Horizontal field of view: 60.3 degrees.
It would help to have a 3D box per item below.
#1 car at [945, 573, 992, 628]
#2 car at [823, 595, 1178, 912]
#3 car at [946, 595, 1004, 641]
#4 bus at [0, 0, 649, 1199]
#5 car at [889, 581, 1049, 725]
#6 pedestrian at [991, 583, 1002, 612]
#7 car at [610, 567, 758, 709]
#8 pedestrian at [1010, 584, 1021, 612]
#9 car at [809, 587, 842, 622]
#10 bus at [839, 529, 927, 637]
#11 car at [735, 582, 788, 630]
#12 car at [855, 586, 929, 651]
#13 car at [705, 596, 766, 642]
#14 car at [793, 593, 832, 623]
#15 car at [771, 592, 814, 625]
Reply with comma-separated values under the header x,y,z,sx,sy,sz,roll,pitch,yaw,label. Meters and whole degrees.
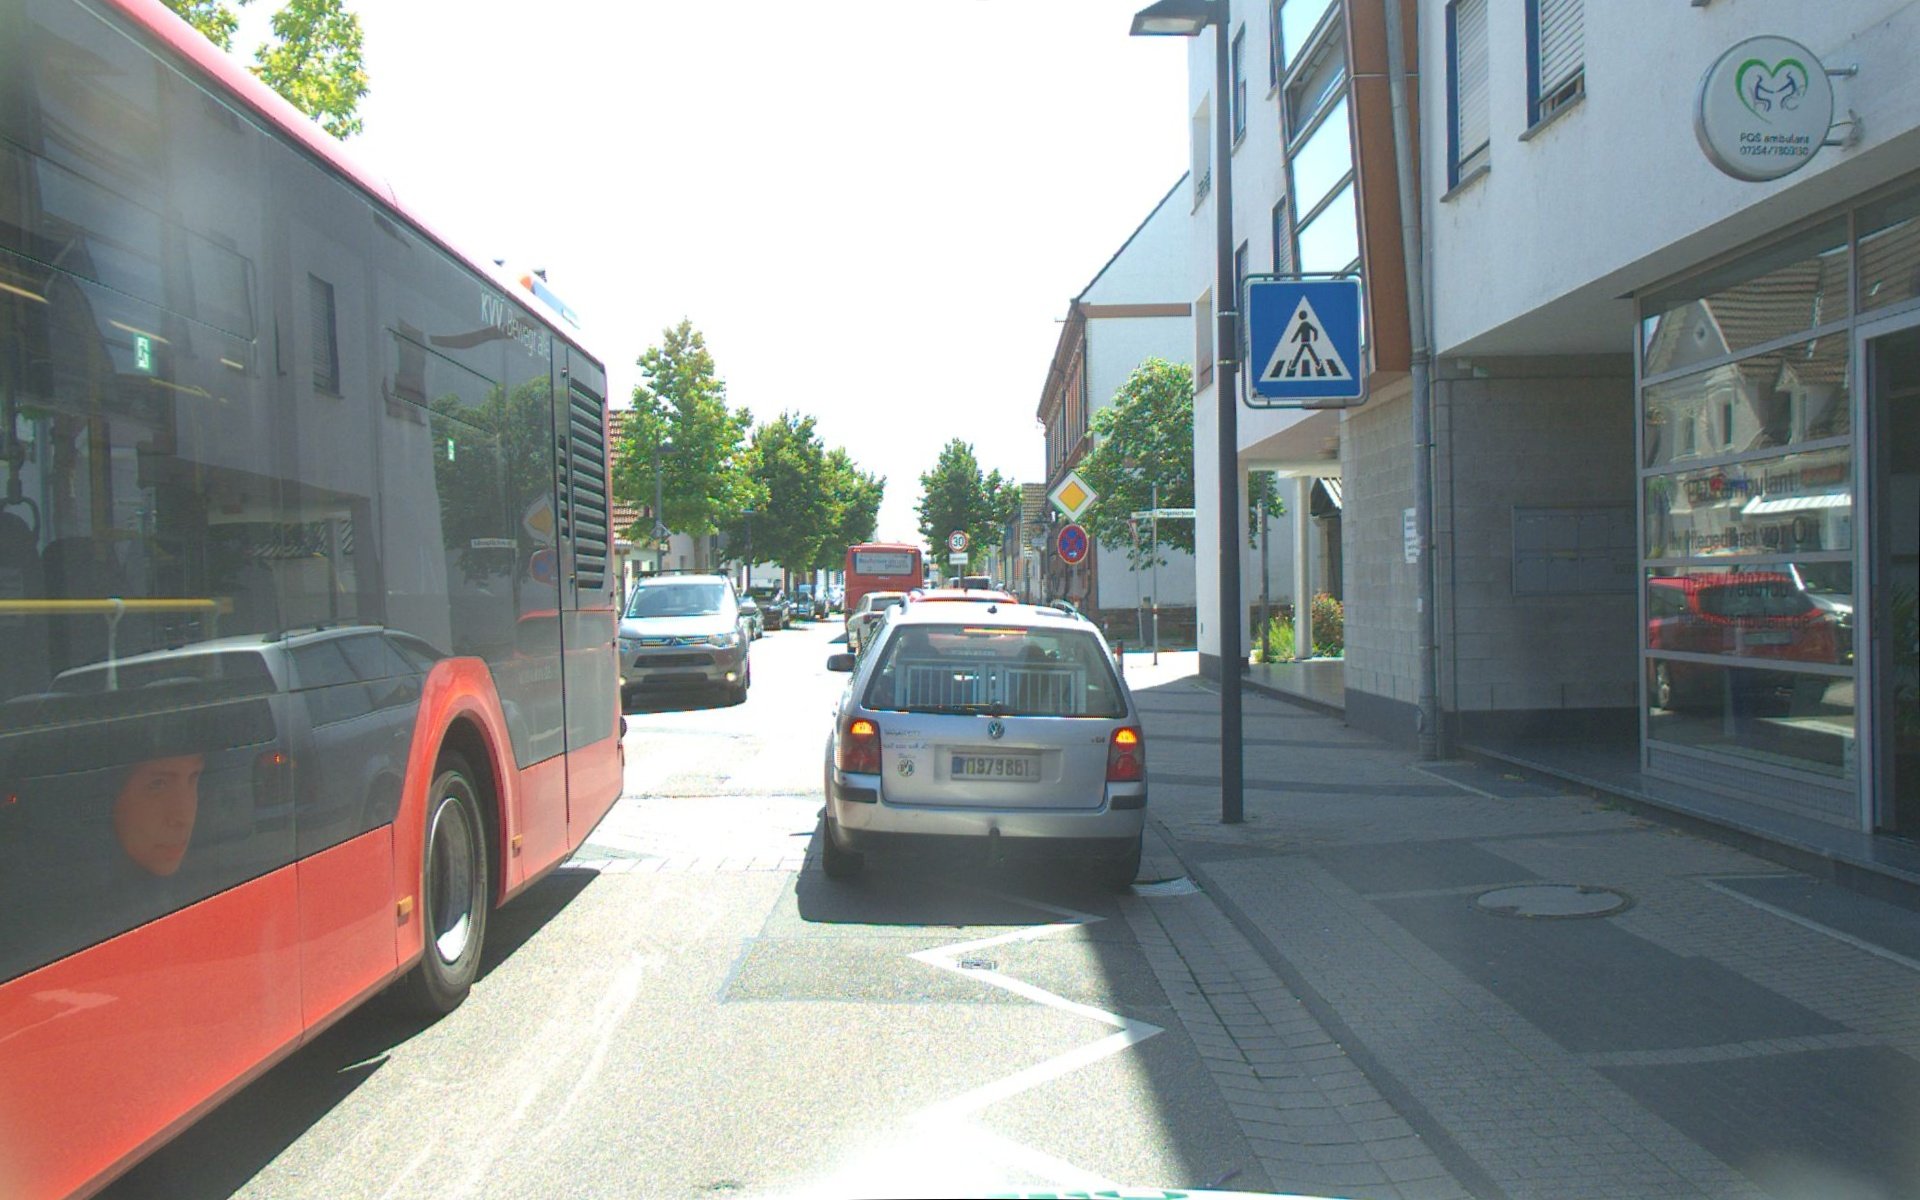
x,y,z,sx,sy,sz,roll,pitch,yaw,label
0.332,-0.001,67.148,1.751,2.118,3.625,-1,0,-1,car
0.165,0.720,9.648,1.643,1.455,3.679,1,0,-1,car
0.442,0.538,51.815,1.684,1.332,3.625,-1,0,-1,car
-2.968,-0.073,0.762,2.615,3.178,17.802,-1,0,-1,bus
0.066,0.542,19.081,1.643,1.455,3.679,-1,0,-1,car
2.189,-0.157,99.207,0.594,1.696,0.789,-1,0,-2,pedestrian
-3.730,0.467,22.930,1.642,1.746,4.228,-1,0,-5,car
3.312,-0.127,98.997,0.594,1.696,0.789,-1,0,-2,pedestrian
-8.261,0.253,101.764,1.775,2.030,3.999,-1,0,-1,car
-2.654,-0.528,58.100,2.685,3.356,12.699,-1,0,-2,bus
-8.133,0.238,68.014,1.729,1.870,3.788,-1,0,-1,car
-1.539,0.403,38.450,1.561,1.455,3.679,0,0,0,car
-7.610,0.635,56.359,1.572,1.463,4.064,-1,0,-1,car
-7.939,0.416,89.470,1.775,1.586,3.999,-1,0,-1,car
-8.384,0.411,82.933,1.775,1.586,3.999,-1,0,-1,car
